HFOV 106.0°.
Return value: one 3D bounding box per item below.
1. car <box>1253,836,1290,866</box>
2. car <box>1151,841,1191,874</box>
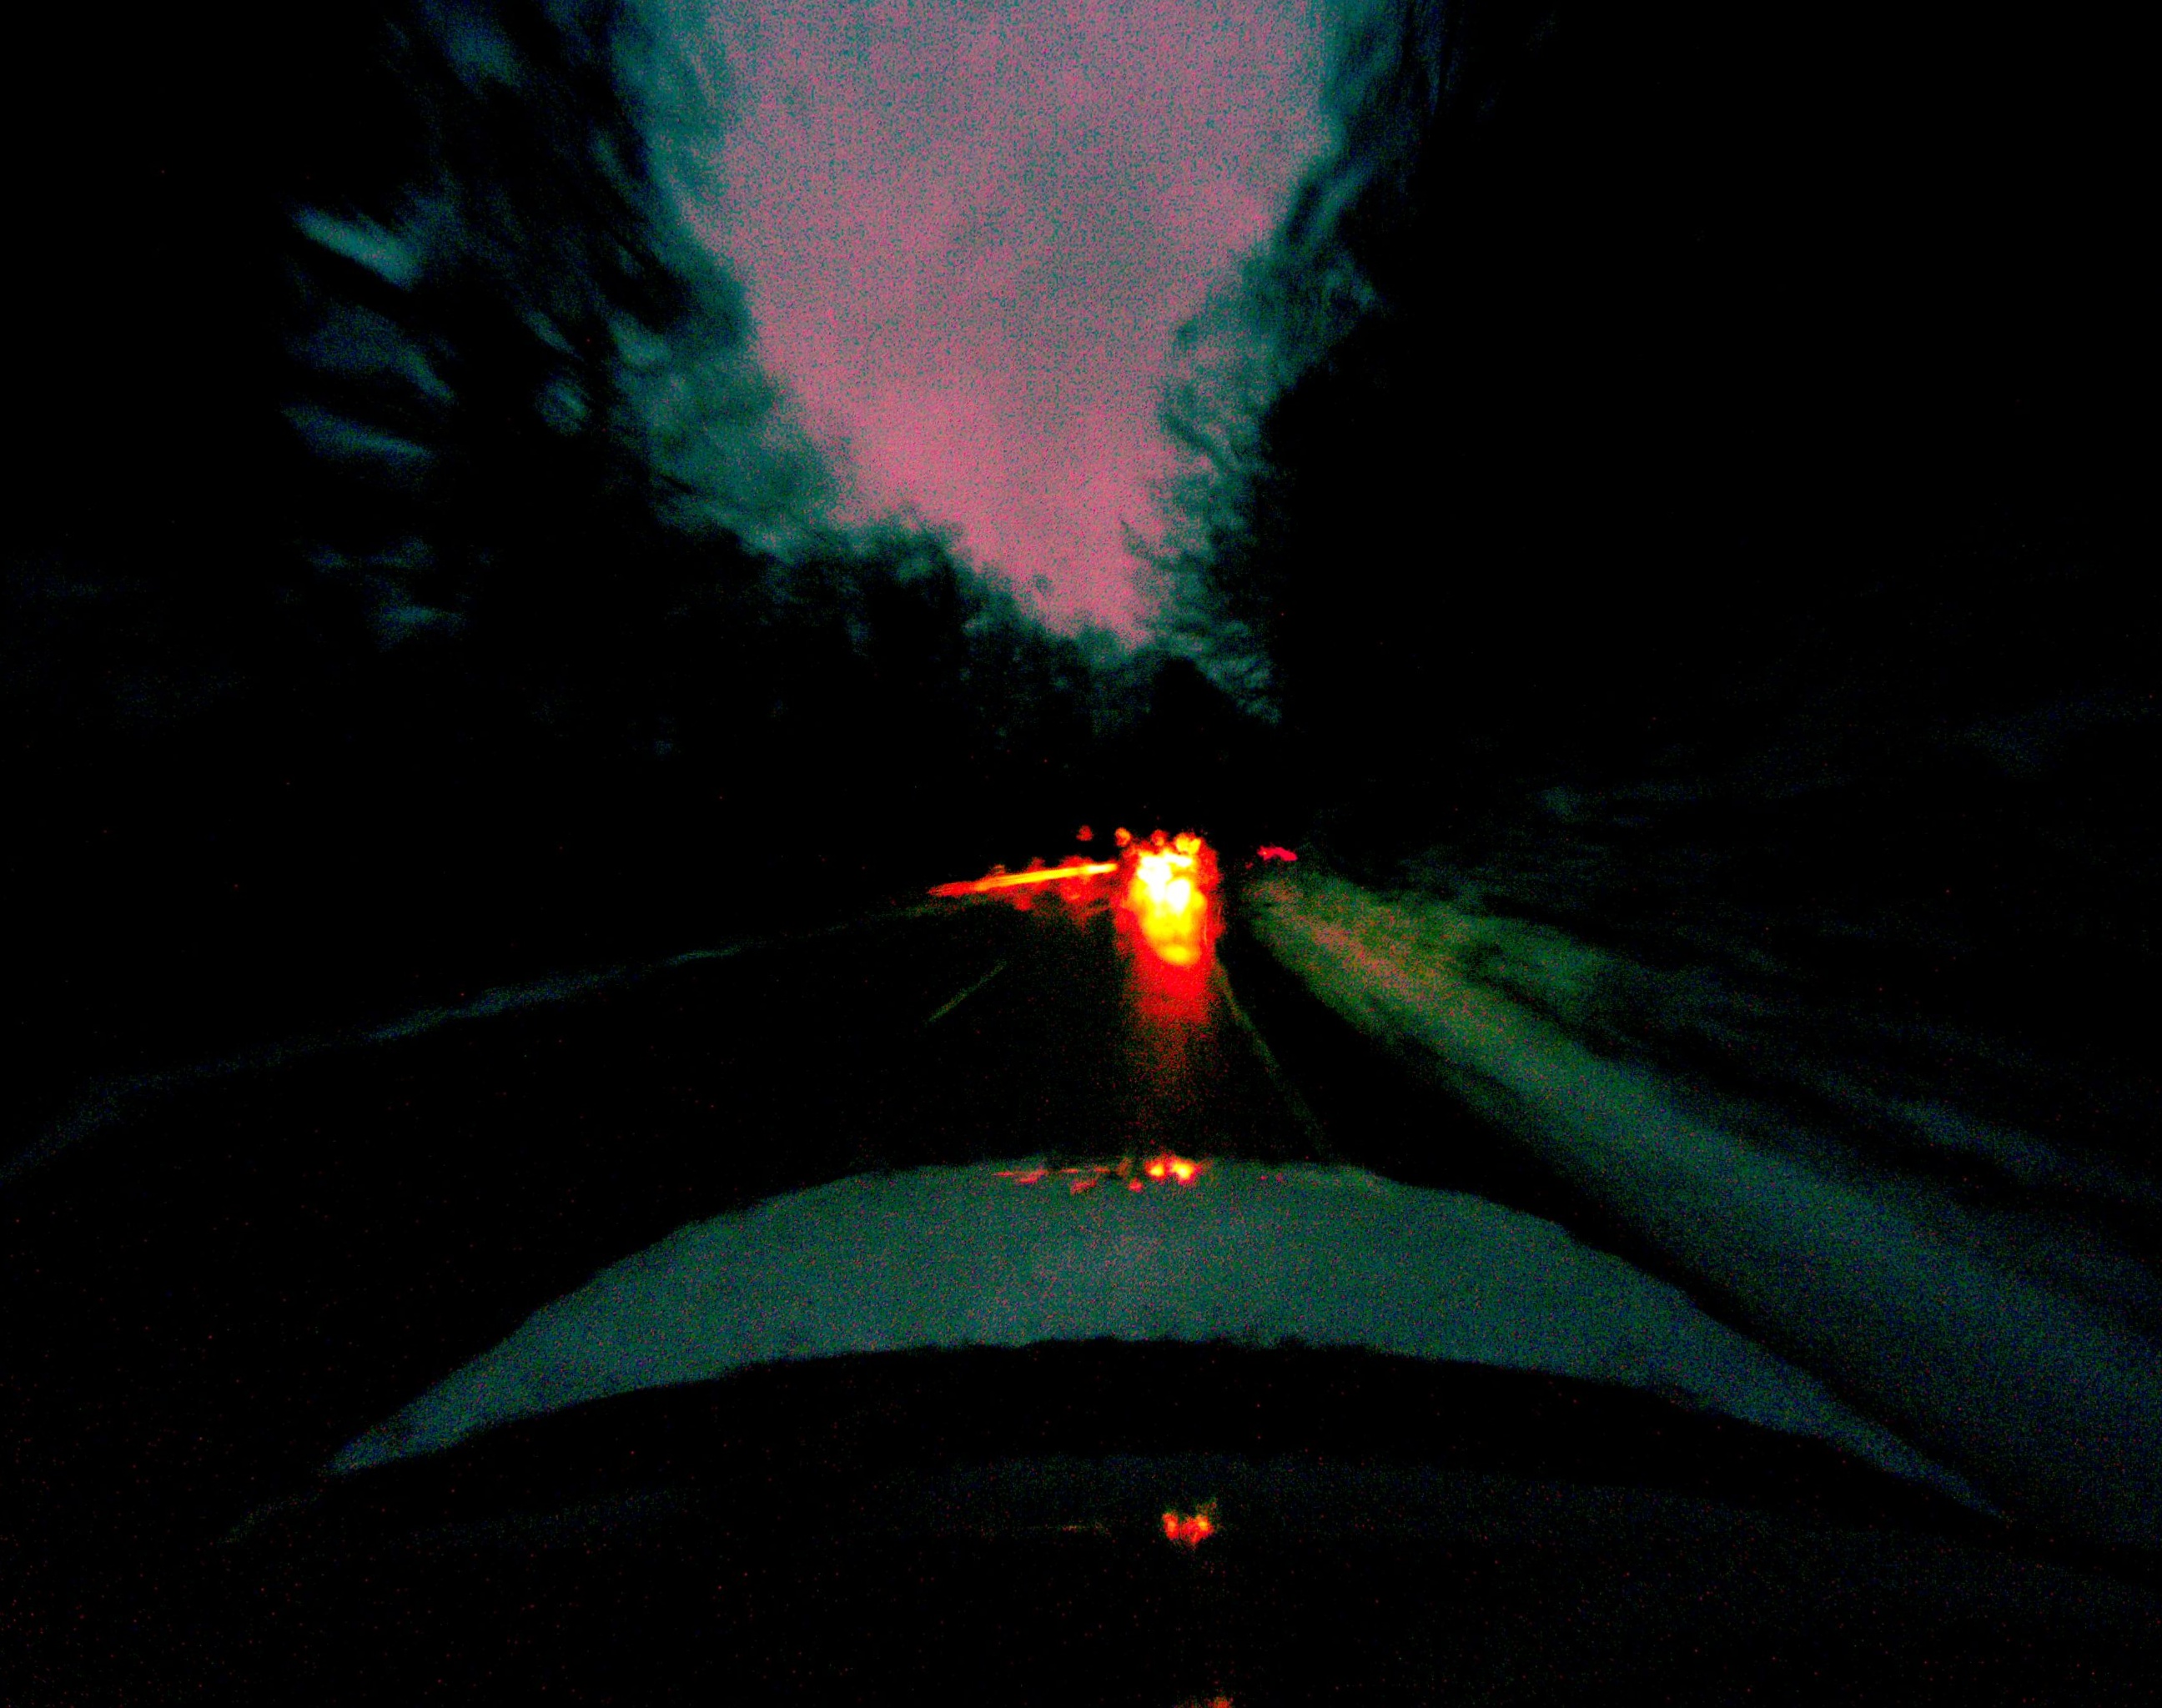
[{"bbox_3d":[13.008,-0.226,55.478,1.977,1.872,4.019,-3,0,19],"label":"car"},{"bbox_3d":[4.729,0.169,42.381,1.710,1.630,4.013,-1,0,11],"label":"car"}]
